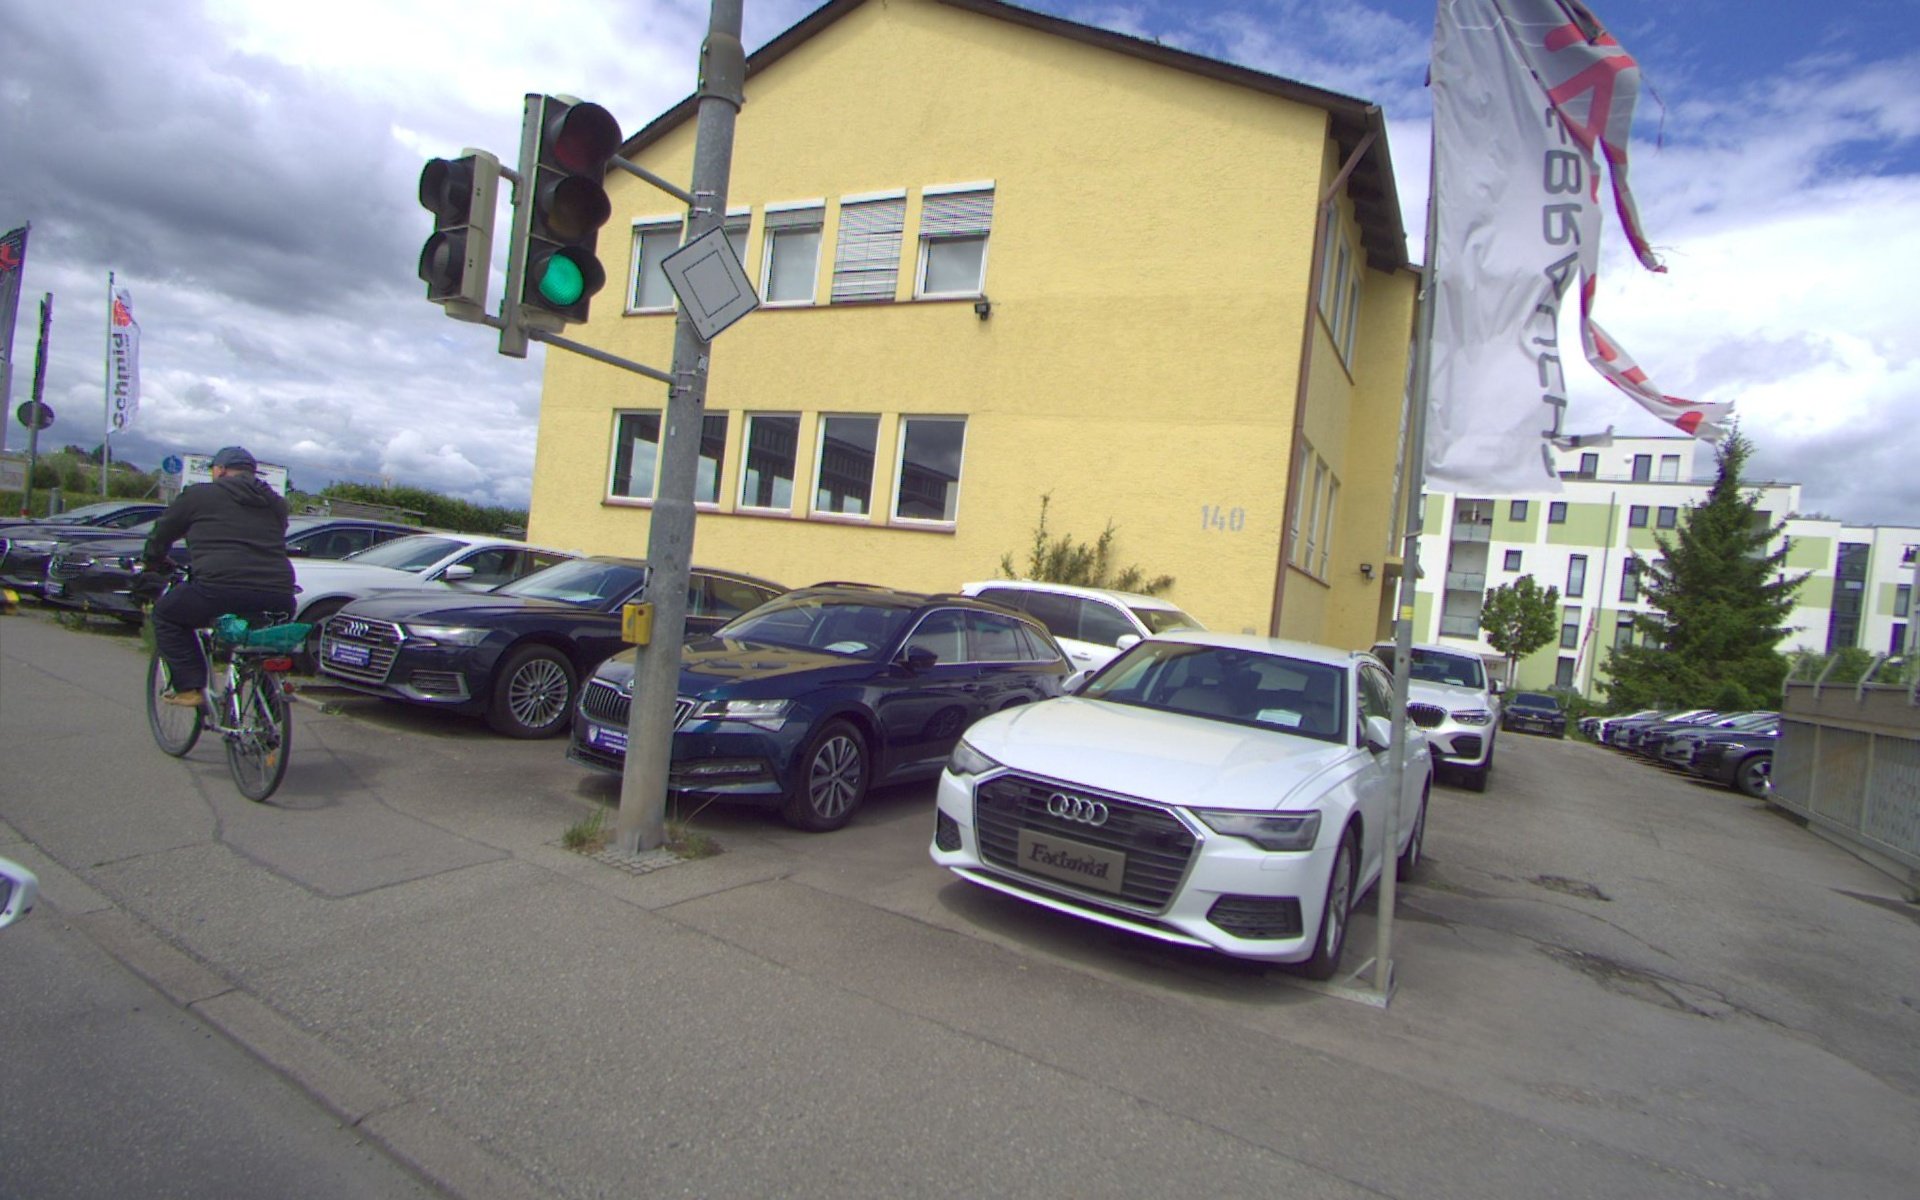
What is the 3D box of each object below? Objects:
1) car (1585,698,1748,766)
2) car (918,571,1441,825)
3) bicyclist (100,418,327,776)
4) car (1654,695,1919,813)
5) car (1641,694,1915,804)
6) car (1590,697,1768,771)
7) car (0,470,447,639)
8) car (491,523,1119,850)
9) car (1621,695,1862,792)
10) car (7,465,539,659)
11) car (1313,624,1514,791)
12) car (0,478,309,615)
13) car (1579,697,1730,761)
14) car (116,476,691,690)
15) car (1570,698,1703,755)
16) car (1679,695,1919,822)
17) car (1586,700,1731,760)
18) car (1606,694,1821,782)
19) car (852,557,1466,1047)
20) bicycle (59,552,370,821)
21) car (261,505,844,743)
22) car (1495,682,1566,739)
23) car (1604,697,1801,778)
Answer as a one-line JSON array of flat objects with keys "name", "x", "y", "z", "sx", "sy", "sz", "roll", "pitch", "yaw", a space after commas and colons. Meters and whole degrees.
[{"name": "car", "x": 21.653, "y": 4.009, "z": 31.027, "sx": 3.859, "sy": 1.401, "sz": 1.646, "roll": 7, "pitch": 0, "yaw": 32}, {"name": "car", "x": 2.088, "y": 0.833, "z": 10.663, "sx": 4.961, "sy": 1.844, "sz": 1.973, "roll": 6, "pitch": 0, "yaw": 42}, {"name": "bicyclist", "x": -3.912, "y": -0.044, "z": 5.268, "sx": 0.875, "sy": 1.699, "sz": 0.637, "roll": 7, "pitch": 4, "yaw": 32}, {"name": "car", "x": 14.673, "y": 2.644, "z": 17.684, "sx": 3.859, "sy": 1.401, "sz": 1.646, "roll": 7, "pitch": 0, "yaw": 32}, {"name": "car", "x": 15.862, "y": 2.840, "z": 19.789, "sx": 3.859, "sy": 1.401, "sz": 1.646, "roll": 7, "pitch": 0, "yaw": 32}, {"name": "car", "x": 20.186, "y": 3.736, "z": 28.471, "sx": 3.859, "sy": 1.401, "sz": 1.646, "roll": 7, "pitch": 0, "yaw": 32}, {"name": "car", "x": -9.814, "y": -0.501, "z": 13.416, "sx": 2.004, "sy": 1.446, "sz": 4.862, "roll": 7, "pitch": -2, "yaw": 32}, {"name": "car", "x": -0.699, "y": 0.581, "z": 7.512, "sx": 2.001, "sy": 1.511, "sz": 4.667, "roll": 7, "pitch": -1, "yaw": 31}, {"name": "car", "x": 16.891, "y": 3.058, "z": 22.006, "sx": 3.859, "sy": 1.401, "sz": 1.646, "roll": 7, "pitch": 0, "yaw": 32}, {"name": "car", "x": -7.730, "y": -0.311, "z": 11.875, "sx": 1.982, "sy": 1.510, "sz": 4.685, "roll": 7, "pitch": -2, "yaw": 32}, {"name": "car", "x": 6.055, "y": 1.373, "z": 13.132, "sx": 1.827, "sy": 1.599, "sz": 4.136, "roll": 7, "pitch": -2, "yaw": 30}, {"name": "car", "x": -12.397, "y": -0.761, "z": 14.703, "sx": 1.970, "sy": 1.414, "sz": 4.333, "roll": 5, "pitch": -3, "yaw": 29}, {"name": "car", "x": 22.615, "y": 4.176, "z": 32.957, "sx": 3.859, "sy": 1.401, "sz": 1.646, "roll": 7, "pitch": 0, "yaw": 32}, {"name": "car", "x": -5.404, "y": -0.024, "z": 10.542, "sx": 1.998, "sy": 1.497, "sz": 4.809, "roll": 7, "pitch": -2, "yaw": 32}, {"name": "car", "x": 24.820, "y": 4.612, "z": 37.059, "sx": 3.859, "sy": 1.401, "sz": 1.646, "roll": 7, "pitch": 0, "yaw": 32}, {"name": "car", "x": 13.445, "y": 2.433, "z": 15.291, "sx": 3.859, "sy": 1.401, "sz": 1.646, "roll": 7, "pitch": 0, "yaw": 32}, {"name": "car", "x": 23.970, "y": 4.428, "z": 34.706, "sx": 3.859, "sy": 1.401, "sz": 1.646, "roll": 7, "pitch": 0, "yaw": 32}, {"name": "car", "x": 17.944, "y": 3.253, "z": 24.193, "sx": 3.859, "sy": 1.401, "sz": 1.646, "roll": 7, "pitch": 0, "yaw": 32}, {"name": "car", "x": 1.642, "y": 0.873, "z": 5.985, "sx": 2.011, "sy": 1.510, "sz": 4.705, "roll": 8, "pitch": -1, "yaw": 31}, {"name": "bicycle", "x": -3.999, "y": 0.375, "z": 5.338, "sx": 1.944, "sy": 1.078, "sz": 0.637, "roll": 7, "pitch": 4, "yaw": 32}, {"name": "car", "x": -3.178, "y": 0.322, "z": 8.861, "sx": 1.955, "sy": 1.420, "sz": 4.380, "roll": 7, "pitch": -2, "yaw": 30}, {"name": "car", "x": 19.433, "y": 3.759, "z": 34.217, "sx": 1.856, "sy": 1.574, "sz": 3.996, "roll": 6, "pitch": -3, "yaw": 31}, {"name": "car", "x": 19.212, "y": 3.515, "z": 26.257, "sx": 3.859, "sy": 1.401, "sz": 1.646, "roll": 7, "pitch": 0, "yaw": 32}]
